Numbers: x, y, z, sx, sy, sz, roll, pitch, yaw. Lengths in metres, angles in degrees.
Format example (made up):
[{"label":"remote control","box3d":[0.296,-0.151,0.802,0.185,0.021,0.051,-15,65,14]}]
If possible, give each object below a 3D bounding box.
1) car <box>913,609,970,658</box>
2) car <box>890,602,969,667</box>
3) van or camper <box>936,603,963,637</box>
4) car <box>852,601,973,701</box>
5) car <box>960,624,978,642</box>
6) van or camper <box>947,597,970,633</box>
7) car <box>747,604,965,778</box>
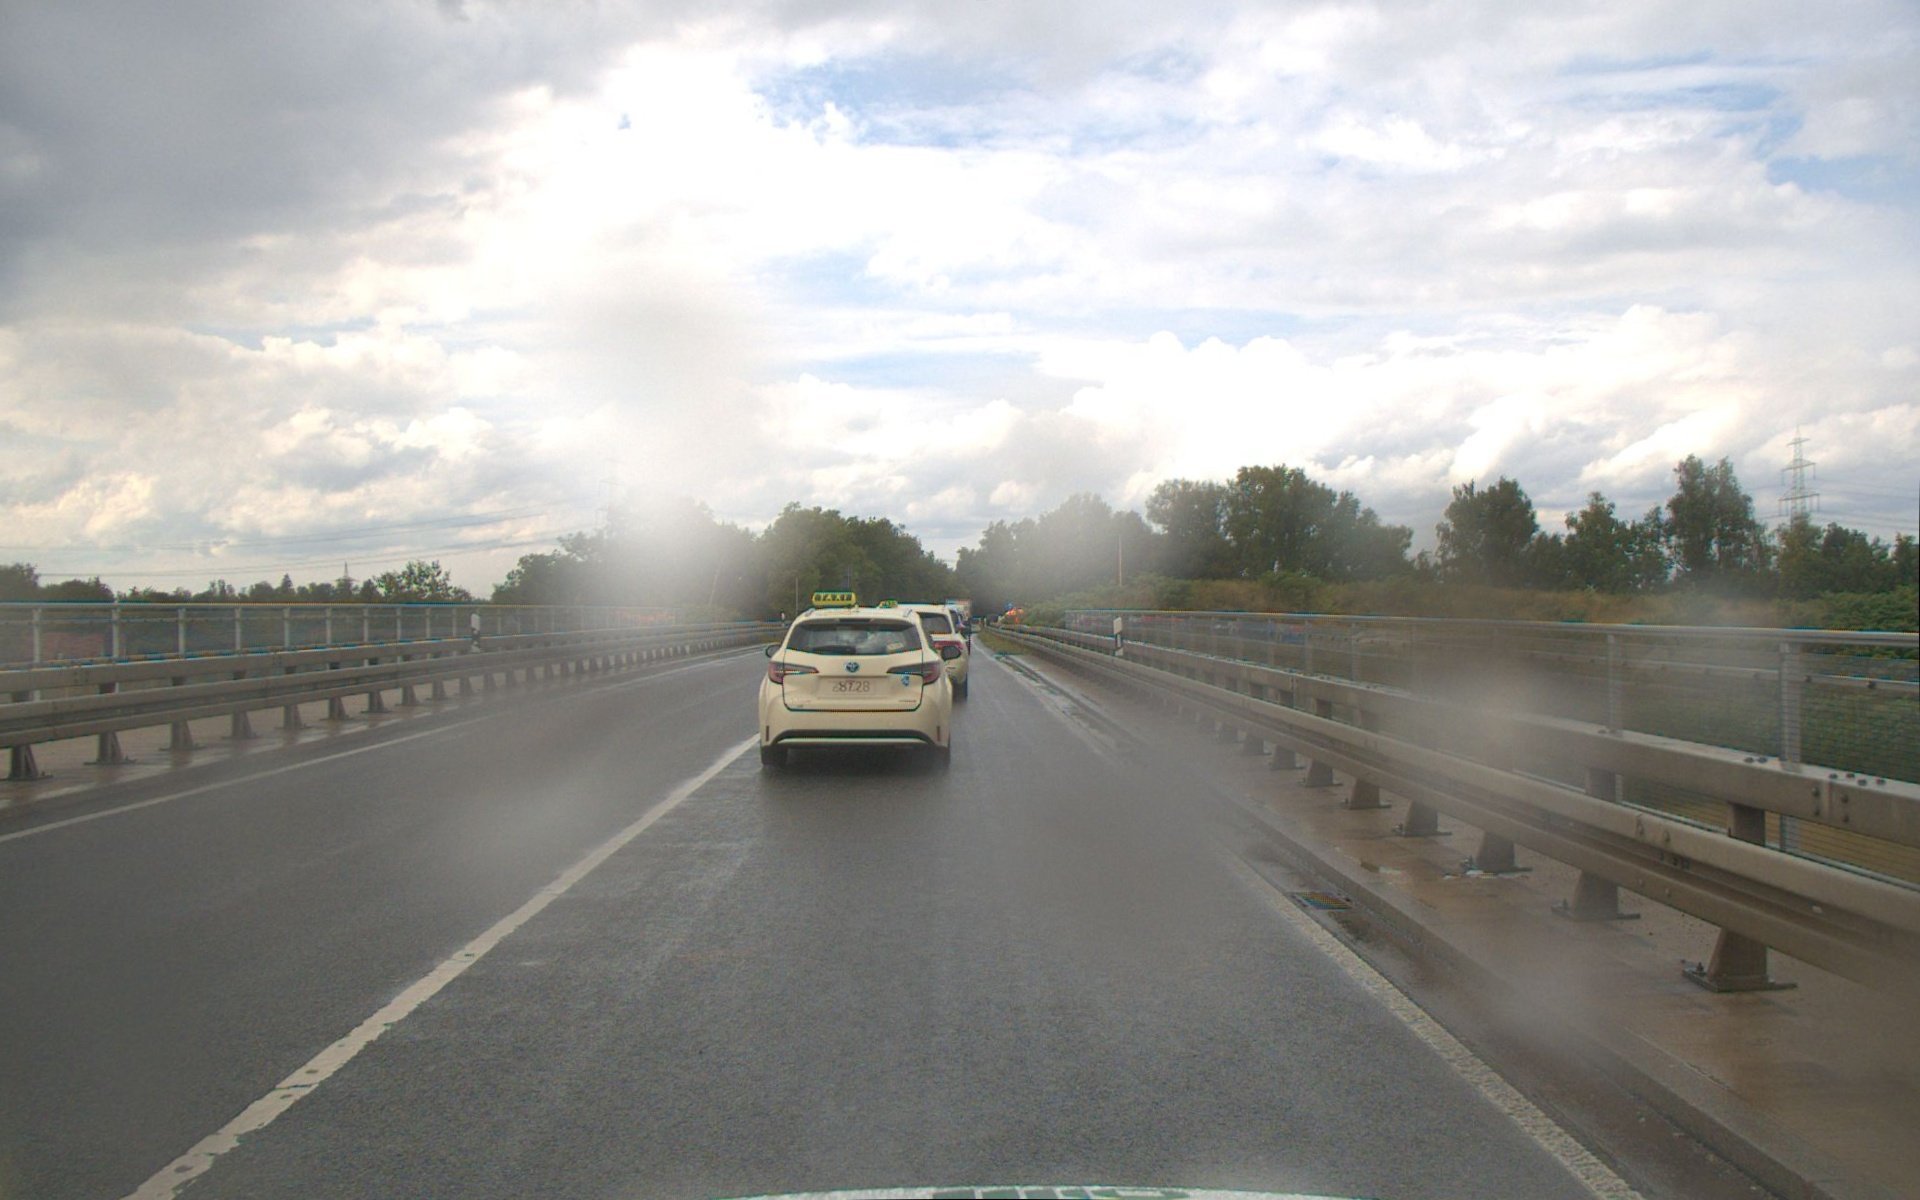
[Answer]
[{"label":"car","box3d":[-0.624,1.082,54.976,1.817,1.468,4.170,1,0,-1]},{"label":"car","box3d":[-0.747,0.821,41.034,1.817,1.468,4.170,1,0,-1]},{"label":"van or camper","box3d":[-0.967,1.747,146.717,2.285,2.914,6.305,1,0,-1]},{"label":"car","box3d":[-0.752,0.775,27.233,1.817,1.468,4.170,1,0,-1]},{"label":"car","box3d":[1.099,4.061,202.858,1.953,2.049,3.999,1,0,-2]},{"label":"van or camper","box3d":[-0.162,1.529,173.322,2.285,3.625,6.305,1,0,-1]},{"label":"car","box3d":[-0.907,0.775,16.079,1.817,1.418,4.170,1,0,-1]}]
